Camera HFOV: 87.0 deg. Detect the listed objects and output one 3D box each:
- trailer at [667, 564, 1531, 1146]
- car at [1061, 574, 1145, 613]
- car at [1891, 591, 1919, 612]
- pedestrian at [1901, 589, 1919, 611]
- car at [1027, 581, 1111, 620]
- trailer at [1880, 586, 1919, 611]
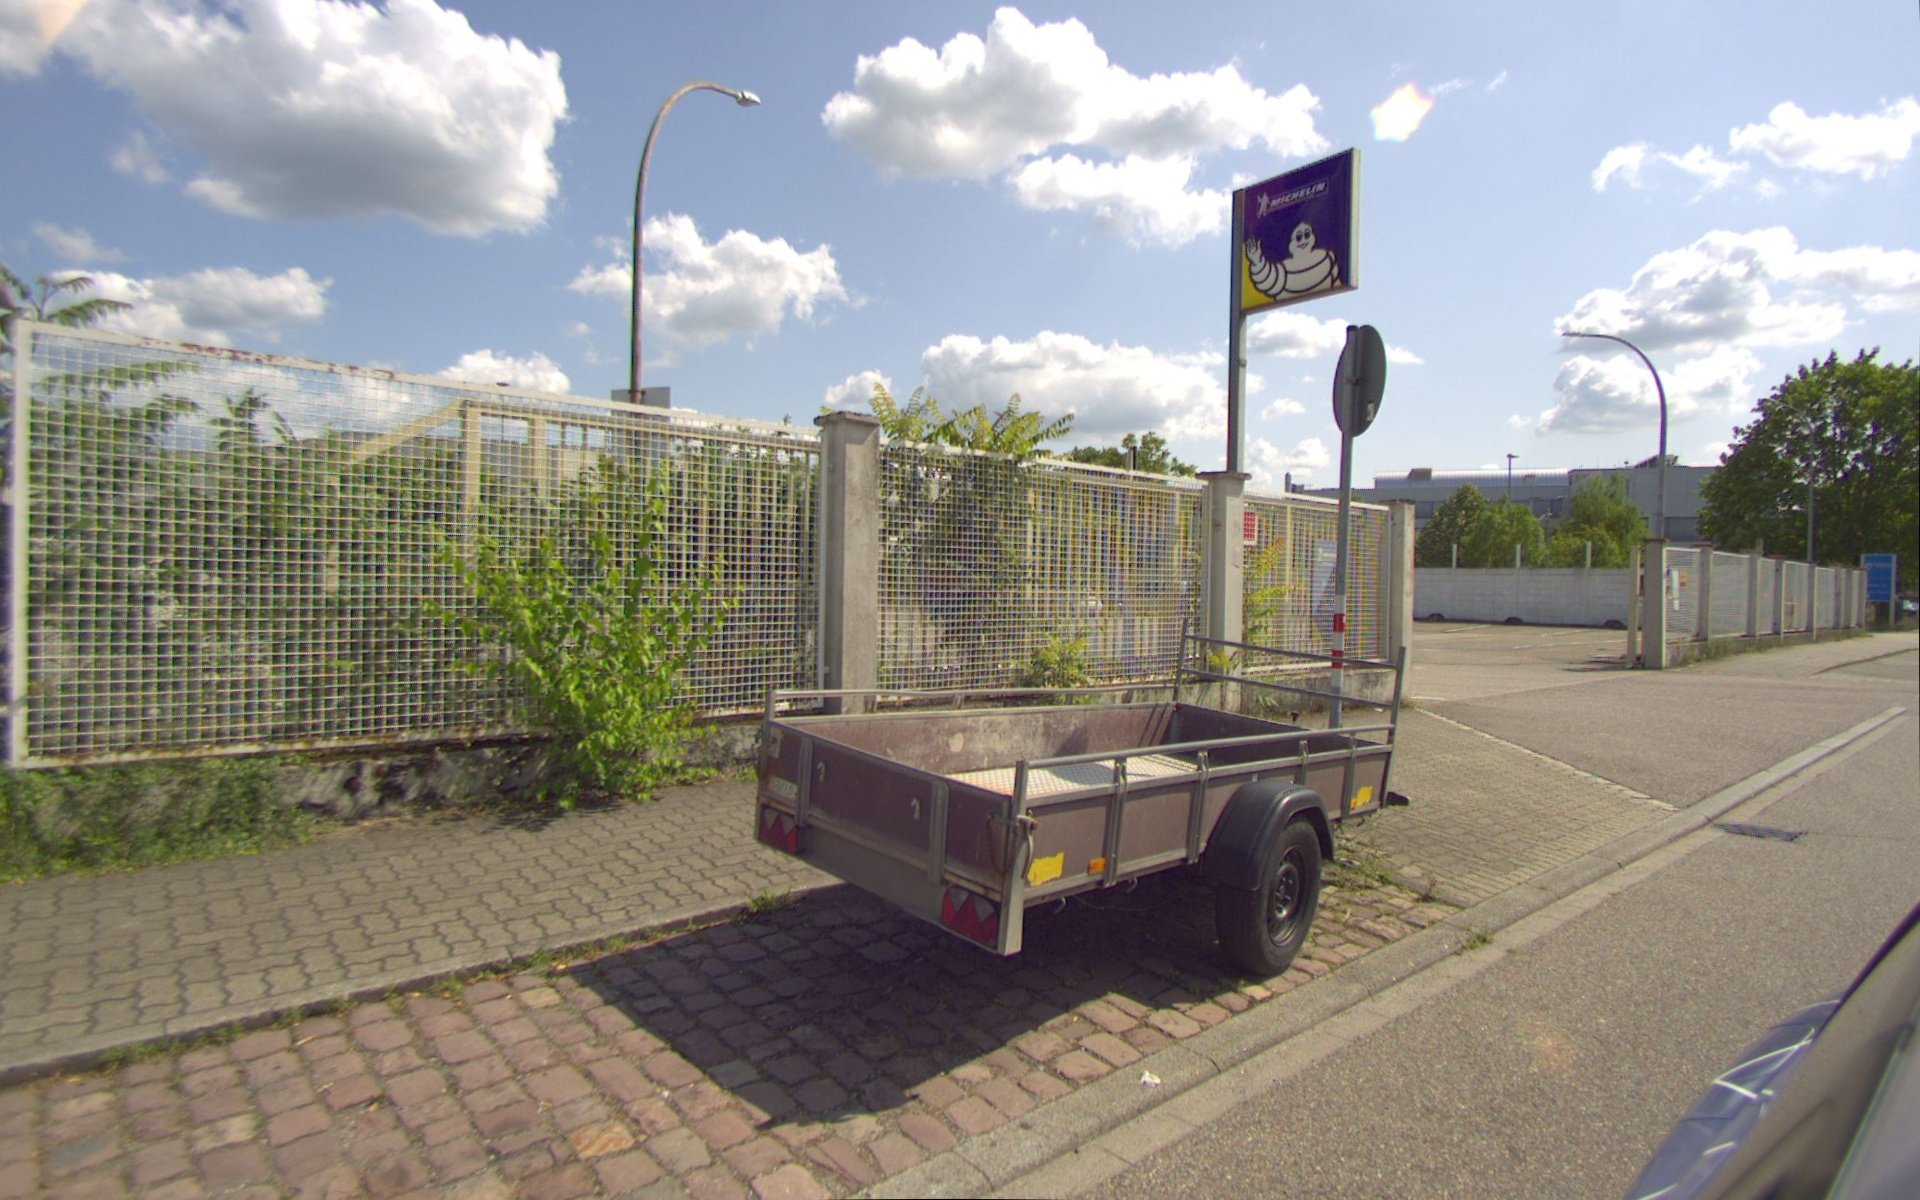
[{"bbox_3d":[1.073,0.609,4.846,1.750,1.434,4.477,6,5,44],"label":"trailer"},{"bbox_3d":[7.159,-0.368,51.035,1.900,1.659,3.922,0,4,-38],"label":"car"},{"bbox_3d":[82.714,0.143,87.868,1.853,1.703,4.656,4,3,32],"label":"car"},{"bbox_3d":[74.691,0.001,79.574,0.719,1.713,0.730,7,4,34],"label":"pedestrian"},{"bbox_3d":[5.333,-0.014,49.776,1.900,1.660,3.922,-1,4,-38],"label":"car"},{"bbox_3d":[84.990,-0.156,91.533,1.738,2.092,3.904,5,3,31],"label":"trailer"}]
